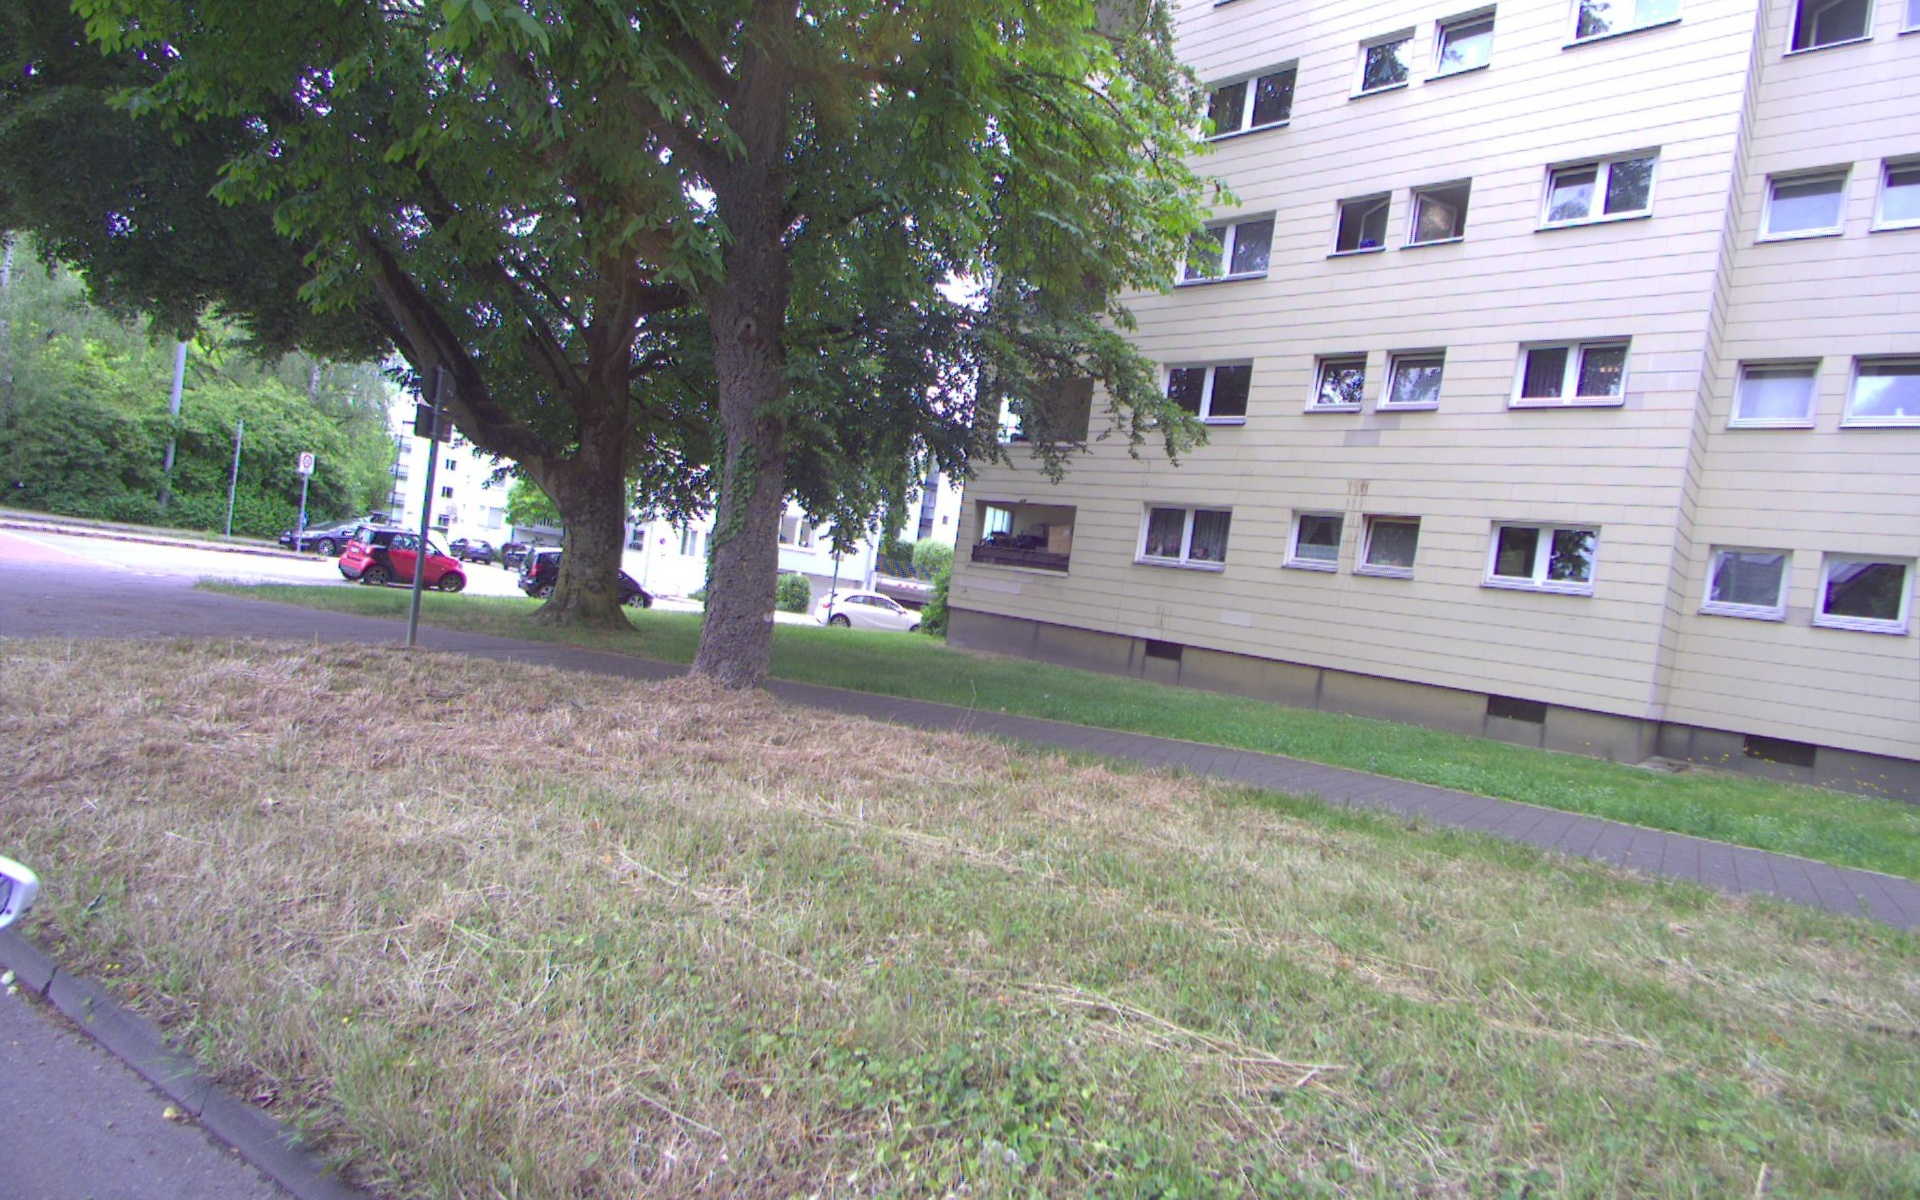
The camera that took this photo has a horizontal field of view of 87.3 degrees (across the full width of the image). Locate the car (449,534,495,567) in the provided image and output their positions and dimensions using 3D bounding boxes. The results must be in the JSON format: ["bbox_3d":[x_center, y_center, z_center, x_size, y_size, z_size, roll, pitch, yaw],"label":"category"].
[{"bbox_3d":[-30.116,-3.071,62.026,1.713,1.631,3.813,6,1,-38],"label":"car"}]

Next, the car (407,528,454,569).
[{"bbox_3d":[-24.881,-2.441,47.185,1.709,1.631,3.823,6,1,-30],"label":"car"}]

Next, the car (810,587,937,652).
[{"bbox_3d":[-2.888,0.630,33.312,3.796,1.631,1.721,7,1,-18],"label":"car"}]

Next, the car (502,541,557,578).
[{"bbox_3d":[-23.191,-2.197,54.073,1.713,1.631,3.813,6,1,-38],"label":"car"}]

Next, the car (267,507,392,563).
[{"bbox_3d":[-23.406,-2.404,37.433,1.702,1.549,3.515,8,1,38],"label":"car"}]

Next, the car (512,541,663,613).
[{"bbox_3d":[-11.061,-0.675,29.924,3.814,1.631,1.713,6,1,-33],"label":"car"}]

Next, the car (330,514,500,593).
[{"bbox_3d":[-14.531,-1.208,26.949,1.702,1.631,3.516,8,1,37],"label":"car"}]
